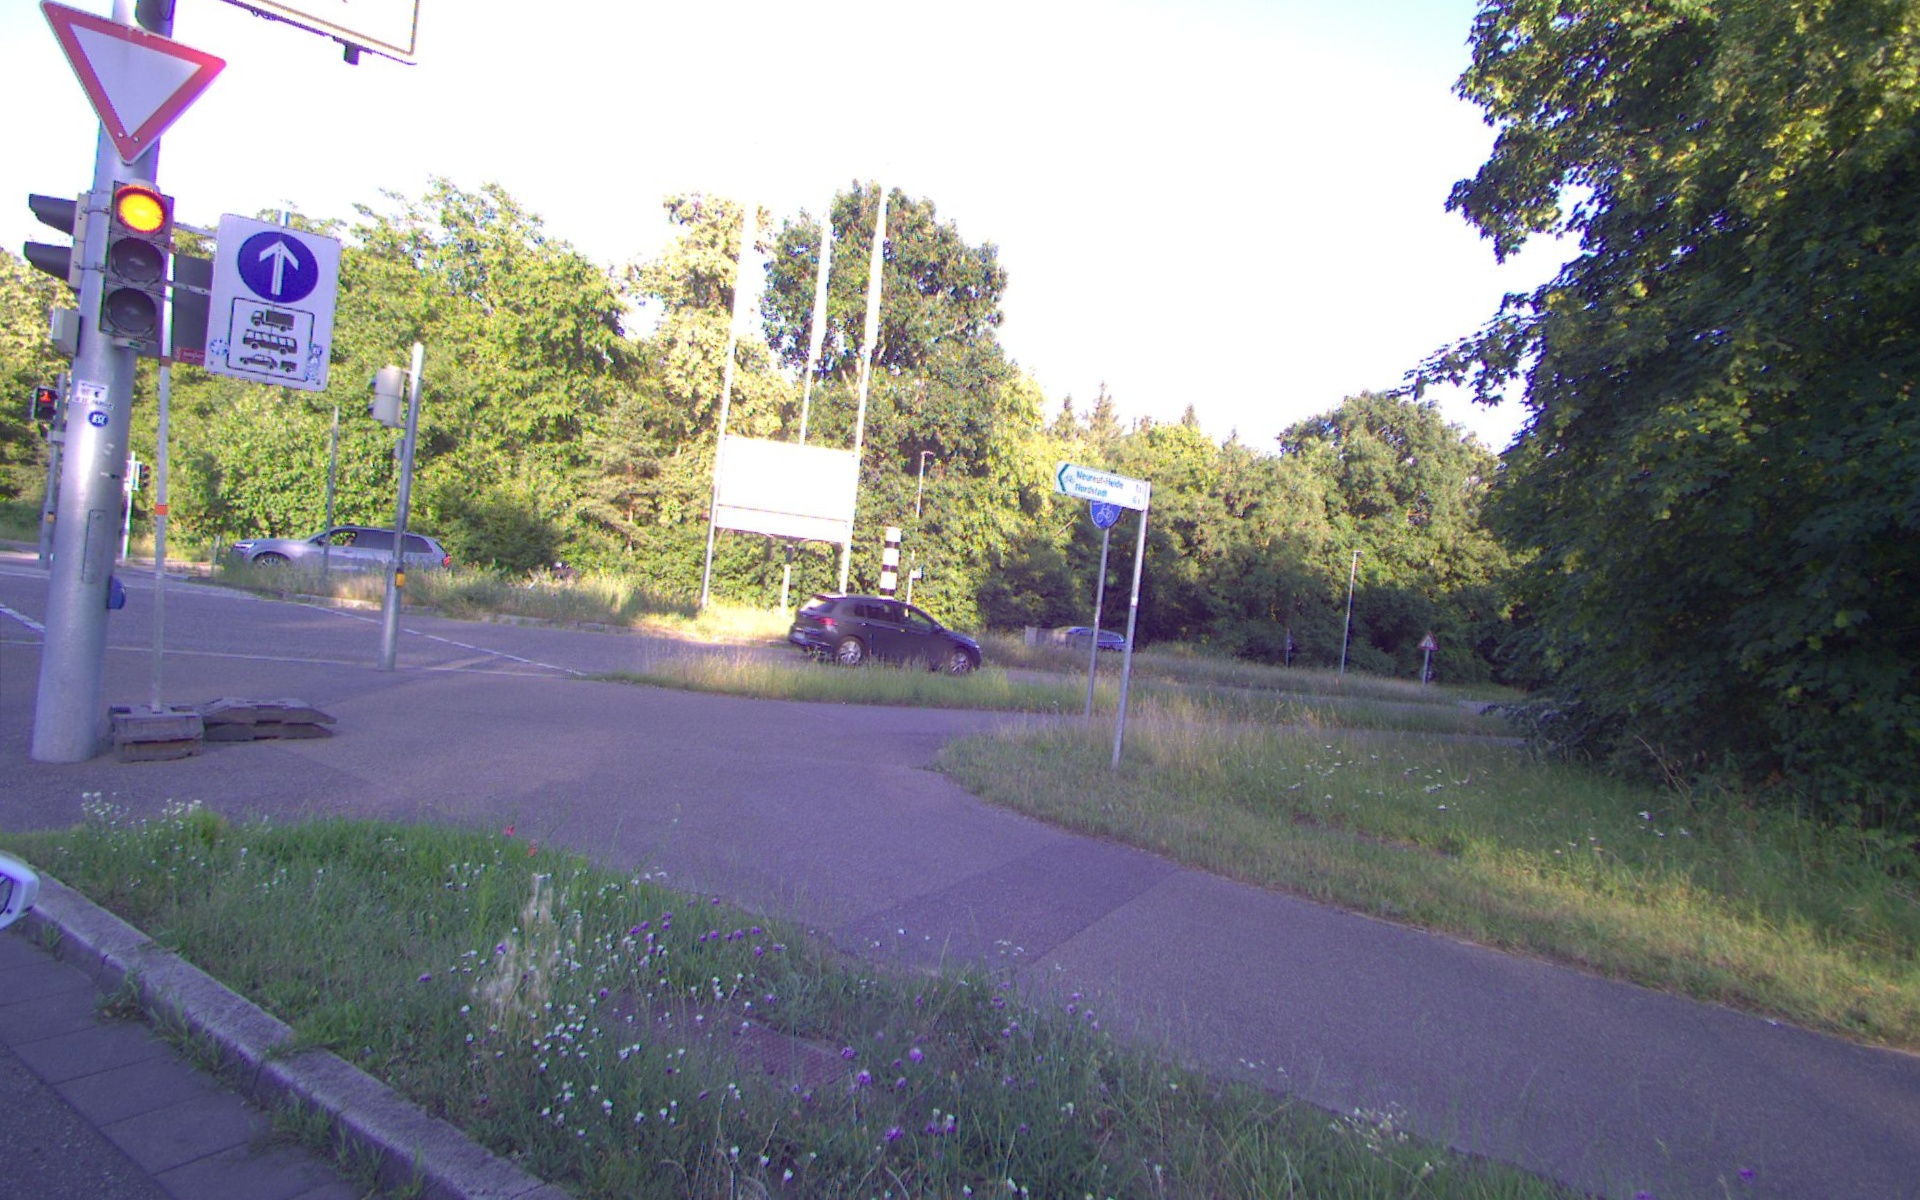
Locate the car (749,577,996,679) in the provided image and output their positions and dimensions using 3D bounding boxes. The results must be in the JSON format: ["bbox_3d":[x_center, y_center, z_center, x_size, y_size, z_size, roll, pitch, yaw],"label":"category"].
[{"bbox_3d":[-1.766,0.602,20.954,4.632,1.548,1.983,7,-1,-33],"label":"car"}]

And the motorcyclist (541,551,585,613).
[{"bbox_3d":[-11.140,-0.505,28.222,0.881,1.614,0.648,6,0,-37],"label":"motorcyclist"}]

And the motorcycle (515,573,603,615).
[{"bbox_3d":[-11.223,-0.167,28.197,2.133,0.921,0.655,7,0,-37],"label":"motorcycle"}]

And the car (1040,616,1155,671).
[{"bbox_3d":[4.979,1.580,36.324,3.840,1.507,1.754,7,-1,-36],"label":"car"}]

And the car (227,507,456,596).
[{"bbox_3d":[-15.919,-1.211,25.998,4.790,1.618,1.980,7,0,-37],"label":"car"}]
